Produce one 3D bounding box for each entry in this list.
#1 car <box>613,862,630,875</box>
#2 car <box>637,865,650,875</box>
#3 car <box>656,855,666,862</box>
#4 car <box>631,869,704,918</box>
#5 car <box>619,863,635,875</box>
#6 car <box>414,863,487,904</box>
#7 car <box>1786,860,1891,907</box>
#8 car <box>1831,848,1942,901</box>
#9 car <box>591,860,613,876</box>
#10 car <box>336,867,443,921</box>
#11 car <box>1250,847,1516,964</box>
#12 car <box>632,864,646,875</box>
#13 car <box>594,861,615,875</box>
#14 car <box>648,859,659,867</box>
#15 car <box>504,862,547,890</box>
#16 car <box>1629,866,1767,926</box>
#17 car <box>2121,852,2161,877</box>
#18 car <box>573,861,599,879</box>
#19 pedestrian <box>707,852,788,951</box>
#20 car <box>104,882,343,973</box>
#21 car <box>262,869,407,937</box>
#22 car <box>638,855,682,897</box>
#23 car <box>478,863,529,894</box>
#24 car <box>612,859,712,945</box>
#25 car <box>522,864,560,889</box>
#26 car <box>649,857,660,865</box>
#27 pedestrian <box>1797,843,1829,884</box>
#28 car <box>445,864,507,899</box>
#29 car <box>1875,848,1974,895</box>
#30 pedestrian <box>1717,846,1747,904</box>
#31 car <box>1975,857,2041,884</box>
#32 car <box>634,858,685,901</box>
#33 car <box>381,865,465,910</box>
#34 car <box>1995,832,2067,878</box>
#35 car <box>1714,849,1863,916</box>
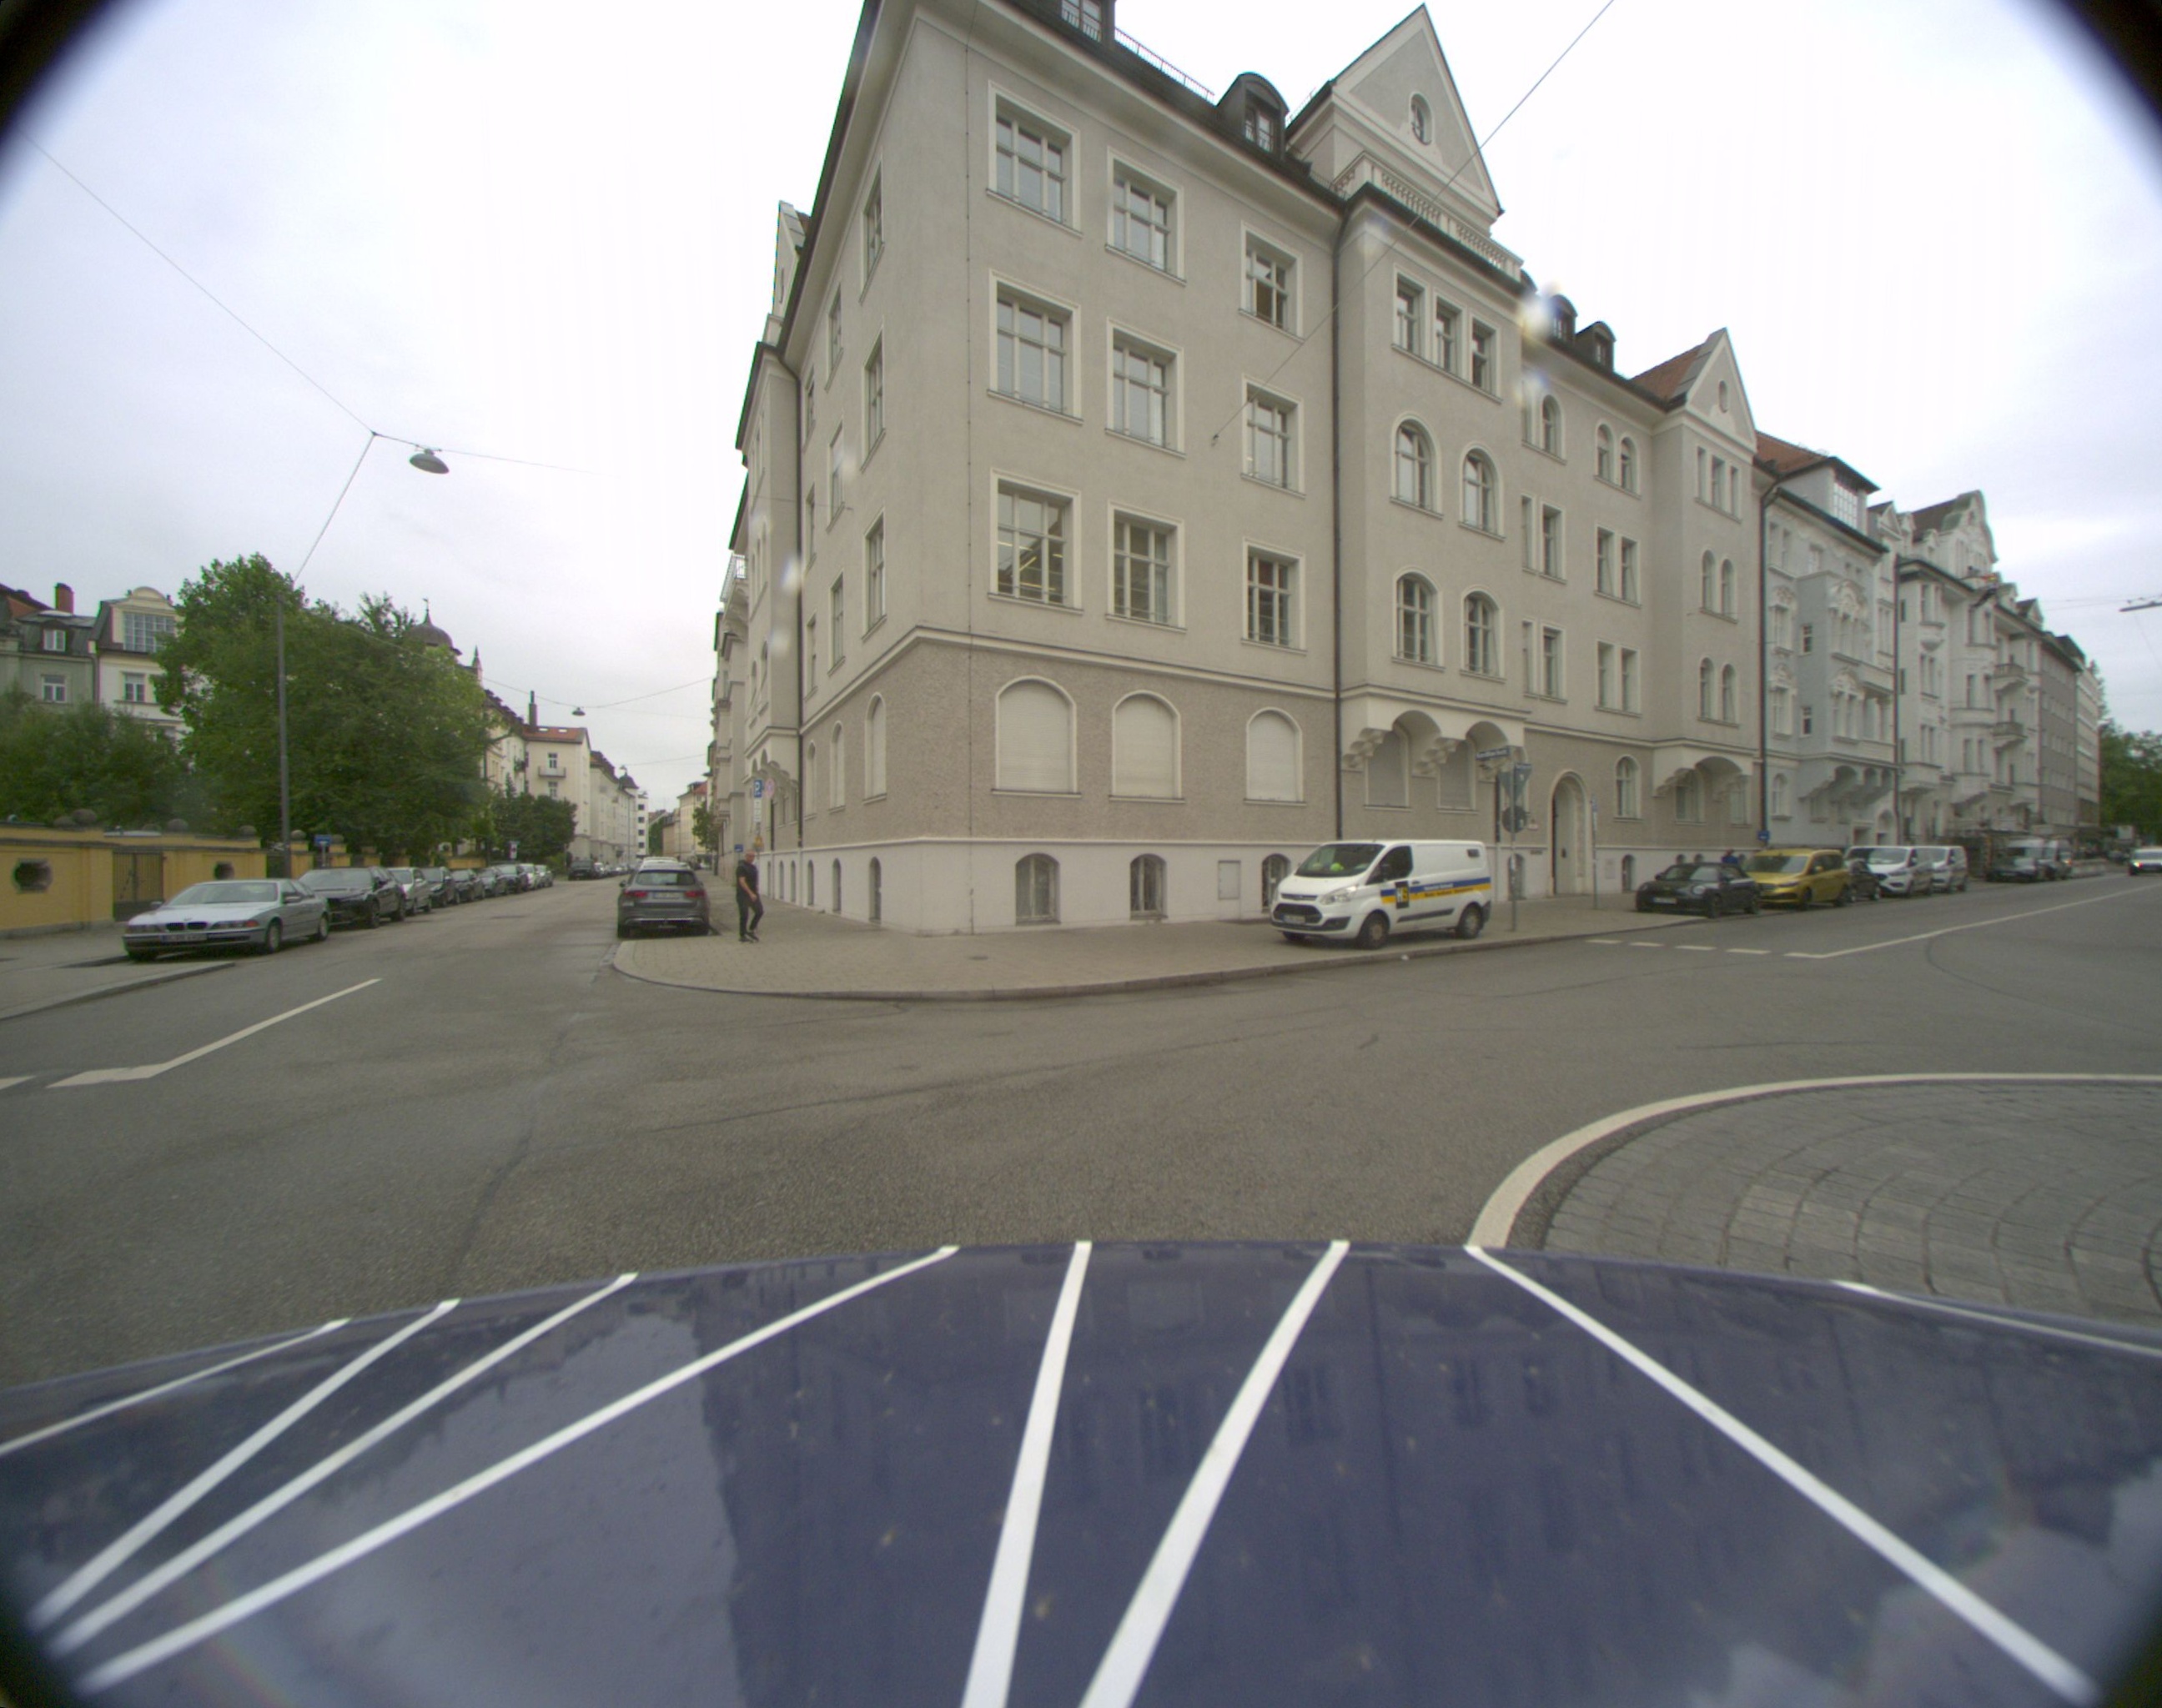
[{"bbox_3d":[-57.148,1.807,94.504,1.799,1.538,3.602,0,0,-30],"label":"car"},{"bbox_3d":[-73.282,2.622,127.178,1.799,1.538,3.602,0,0,-30],"label":"car"},{"bbox_3d":[-86.135,0.949,155.825,1.799,1.538,3.602,0,0,-30],"label":"car"},{"bbox_3d":[-13.809,1.241,25.252,1.896,1.396,4.240,-1,0,-31],"label":"car"},{"bbox_3d":[-61.644,2.029,103.129,1.799,1.538,3.602,0,0,-30],"label":"car"},{"bbox_3d":[-26.214,1.181,31.691,1.799,1.538,3.296,0,0,-31],"label":"car"},{"bbox_3d":[26.344,0.977,26.412,3.891,1.505,1.635,0,0,-30],"label":"car"},{"bbox_3d":[31.254,0.732,29.447,4.894,1.907,1.995,0,1,-31],"label":"car"},{"bbox_3d":[-50.142,1.428,79.522,1.799,1.538,3.602,0,0,-30],"label":"car"},{"bbox_3d":[-22.535,1.232,24.916,1.799,1.538,3.948,0,0,-30],"label":"car"},{"bbox_3d":[5.949,0.837,14.705,5.383,1.911,1.939,0,1,-32],"label":"car"},{"bbox_3d":[-67.828,2.364,116.477,1.799,1.538,3.602,0,0,-30],"label":"car"},{"bbox_3d":[-52.175,1.529,83.278,1.799,1.538,3.602,0,0,-30],"label":"car"},{"bbox_3d":[-79.082,1.654,140.503,1.799,1.538,3.602,0,0,-30],"label":"car"},{"bbox_3d":[-33.535,1.295,45.947,1.799,1.538,3.296,0,0,-31],"label":"car"},{"bbox_3d":[16.954,1.074,20.845,3.833,1.437,1.714,0,0,-31],"label":"car"},{"bbox_3d":[71.784,0.689,51.146,4.610,1.648,1.915,0,0,-34],"label":"car"},{"bbox_3d":[-45.697,1.472,70.158,1.799,1.538,3.602,0,0,-30],"label":"car"},{"bbox_3d":[-6.267,0.863,14.316,0.928,1.790,1.001,0,1,19],"label":"pedestrian"},{"bbox_3d":[-16.638,1.313,15.072,1.804,1.360,4.455,0,0,-30],"label":"car"},{"bbox_3d":[-19.433,1.189,19.995,1.799,1.538,3.948,0,0,-30],"label":"car"},{"bbox_3d":[-21.772,1.062,39.243,1.822,2.023,4.024,-1,0,-31],"label":"car"},{"bbox_3d":[-31.008,1.290,40.861,1.799,1.538,3.296,0,0,-31],"label":"car"},{"bbox_3d":[-10.241,1.030,18.440,1.896,1.785,4.240,-1,0,-31],"label":"car"},{"bbox_3d":[-35.840,1.469,50.512,1.799,1.538,3.296,0,0,-31],"label":"car"},{"bbox_3d":[-81.320,1.361,144.791,1.799,1.538,3.602,0,0,-30],"label":"car"},{"bbox_3d":[34.283,0.413,35.591,0.747,1.892,0.852,-1,1,-28],"label":"pedestrian"},{"bbox_3d":[-28.070,1.233,35.345,1.799,1.538,3.296,0,0,-31],"label":"car"},{"bbox_3d":[36.526,0.712,32.887,4.886,1.907,1.995,0,1,-31],"label":"car"},{"bbox_3d":[22.811,0.730,26.627,0.728,2.002,0.584,0,0,-29],"label":"pedestrian"},{"bbox_3d":[52.347,0.891,42.879,4.251,1.399,1.789,0,0,-31],"label":"car"},{"bbox_3d":[-18.758,1.079,33.733,1.800,1.773,3.830,-1,0,-31],"label":"car"},{"bbox_3d":[-24.601,1.215,28.529,1.799,1.538,3.296,0,0,-31],"label":"car"},{"bbox_3d":[57.741,0.012,46.172,5.454,2.673,2.078,-1,2,-33],"label":"car"},{"bbox_3d":[21.936,0.799,23.543,4.578,1.907,1.995,0,1,-28],"label":"car"}]
